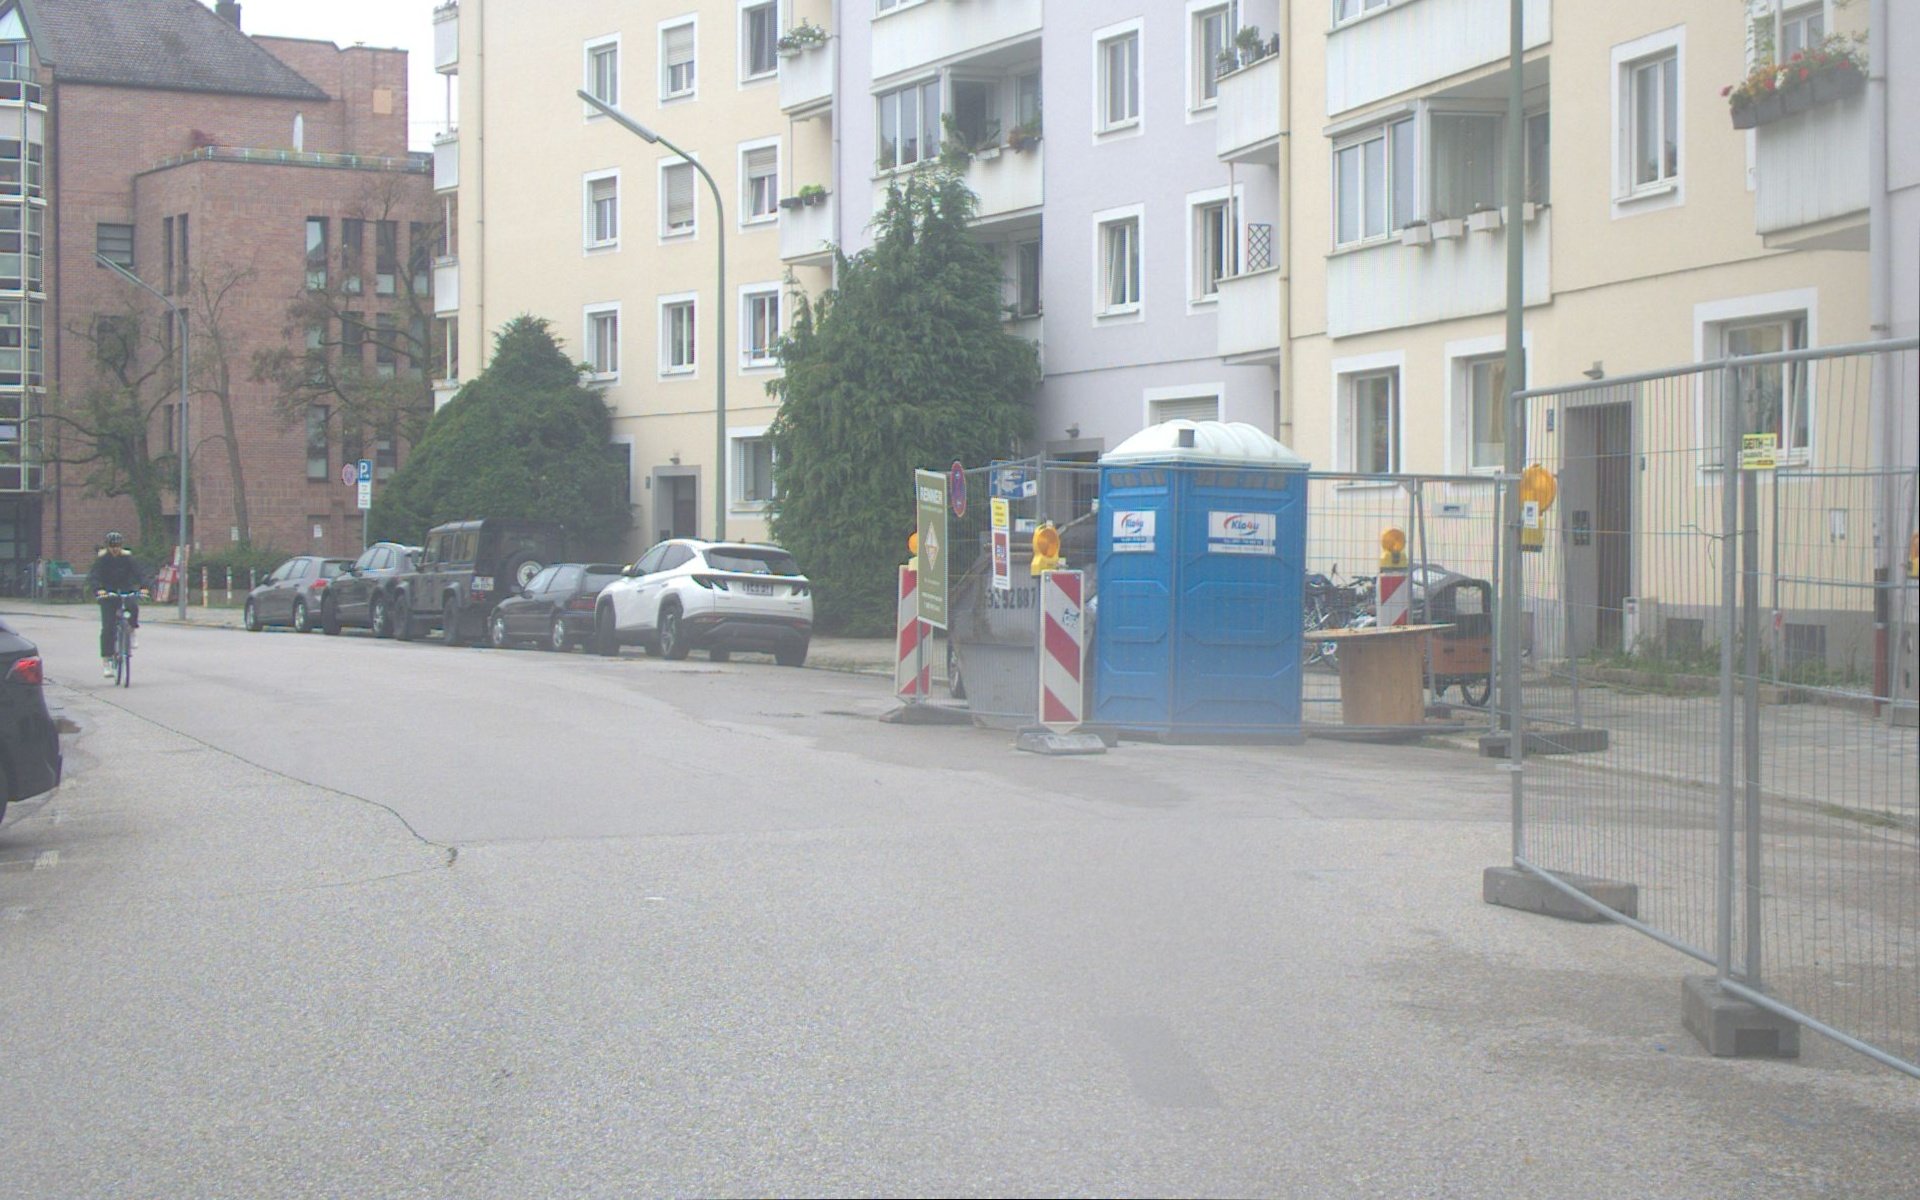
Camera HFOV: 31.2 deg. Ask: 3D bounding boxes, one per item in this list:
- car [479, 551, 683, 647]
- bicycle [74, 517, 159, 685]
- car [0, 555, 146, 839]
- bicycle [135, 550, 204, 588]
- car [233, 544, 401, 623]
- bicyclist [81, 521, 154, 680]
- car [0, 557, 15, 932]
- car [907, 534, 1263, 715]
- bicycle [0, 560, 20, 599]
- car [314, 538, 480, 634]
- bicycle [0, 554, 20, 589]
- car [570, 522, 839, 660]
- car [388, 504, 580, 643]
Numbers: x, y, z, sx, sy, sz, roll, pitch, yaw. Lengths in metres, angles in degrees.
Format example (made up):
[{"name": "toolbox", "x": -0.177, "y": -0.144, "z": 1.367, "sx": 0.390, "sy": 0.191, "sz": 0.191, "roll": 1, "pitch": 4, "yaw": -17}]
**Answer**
[{"name": "car", "x": -5.630, "y": -0.019, "z": 50.768, "sx": 1.658, "sy": 1.344, "sz": 3.805, "roll": 2, "pitch": 0, "yaw": -28}, {"name": "bicycle", "x": -9.351, "y": -0.027, "z": 38.189, "sx": 0.795, "sy": 1.716, "sz": 3.116, "roll": -2, "pitch": 3, "yaw": -13}, {"name": "car", "x": -6.186, "y": 0.539, "z": 16.644, "sx": 3.996, "sy": 1.368, "sz": 1.748, "roll": -3, "pitch": 2, "yaw": -43}, {"name": "bicycle", "x": -21.151, "y": -0.828, "z": 92.000, "sx": 1.700, "sy": 0.962, "sz": 0.546, "roll": 2, "pitch": 1, "yaw": -31}, {"name": "car", "x": -12.068, "y": -0.299, "z": 64.395, "sx": 1.754, "sy": 1.391, "sz": 4.045, "roll": 2, "pitch": -1, "yaw": -31}, {"name": "bicyclist", "x": -9.305, "y": -0.006, "z": 37.985, "sx": 0.747, "sy": 1.711, "sz": 1.032, "roll": -1, "pitch": 2, "yaw": -12}, {"name": "car", "x": -5.917, "y": 0.526, "z": 13.327, "sx": 3.971, "sy": 1.525, "sz": 1.675, "roll": 1, "pitch": 1, "yaw": -41}, {"name": "car", "x": 1.032, "y": 0.172, "z": 31.175, "sx": 1.830, "sy": 1.437, "sz": 4.630, "roll": 2, "pitch": 1, "yaw": -16}, {"name": "bicycle", "x": -29.349, "y": -0.629, "z": 103.664, "sx": 1.848, "sy": 1.143, "sz": 0.488, "roll": 2, "pitch": 1, "yaw": -25}, {"name": "car", "x": -9.876, "y": -0.263, "z": 60.009, "sx": 1.658, "sy": 1.560, "sz": 4.515, "roll": 2, "pitch": 0, "yaw": -25}, {"name": "bicycle", "x": -29.411, "y": -0.887, "z": 105.386, "sx": 0.486, "sy": 1.056, "sz": 1.996, "roll": 2, "pitch": 0, "yaw": -34}, {"name": "car", "x": -3.495, "y": -0.154, "z": 46.079, "sx": 2.026, "sy": 1.672, "sz": 4.614, "roll": 2, "pitch": 1, "yaw": -25}, {"name": "car", "x": -7.691, "y": -0.463, "z": 55.190, "sx": 1.747, "sy": 2.074, "sz": 4.517, "roll": 2, "pitch": 1, "yaw": -25}]
